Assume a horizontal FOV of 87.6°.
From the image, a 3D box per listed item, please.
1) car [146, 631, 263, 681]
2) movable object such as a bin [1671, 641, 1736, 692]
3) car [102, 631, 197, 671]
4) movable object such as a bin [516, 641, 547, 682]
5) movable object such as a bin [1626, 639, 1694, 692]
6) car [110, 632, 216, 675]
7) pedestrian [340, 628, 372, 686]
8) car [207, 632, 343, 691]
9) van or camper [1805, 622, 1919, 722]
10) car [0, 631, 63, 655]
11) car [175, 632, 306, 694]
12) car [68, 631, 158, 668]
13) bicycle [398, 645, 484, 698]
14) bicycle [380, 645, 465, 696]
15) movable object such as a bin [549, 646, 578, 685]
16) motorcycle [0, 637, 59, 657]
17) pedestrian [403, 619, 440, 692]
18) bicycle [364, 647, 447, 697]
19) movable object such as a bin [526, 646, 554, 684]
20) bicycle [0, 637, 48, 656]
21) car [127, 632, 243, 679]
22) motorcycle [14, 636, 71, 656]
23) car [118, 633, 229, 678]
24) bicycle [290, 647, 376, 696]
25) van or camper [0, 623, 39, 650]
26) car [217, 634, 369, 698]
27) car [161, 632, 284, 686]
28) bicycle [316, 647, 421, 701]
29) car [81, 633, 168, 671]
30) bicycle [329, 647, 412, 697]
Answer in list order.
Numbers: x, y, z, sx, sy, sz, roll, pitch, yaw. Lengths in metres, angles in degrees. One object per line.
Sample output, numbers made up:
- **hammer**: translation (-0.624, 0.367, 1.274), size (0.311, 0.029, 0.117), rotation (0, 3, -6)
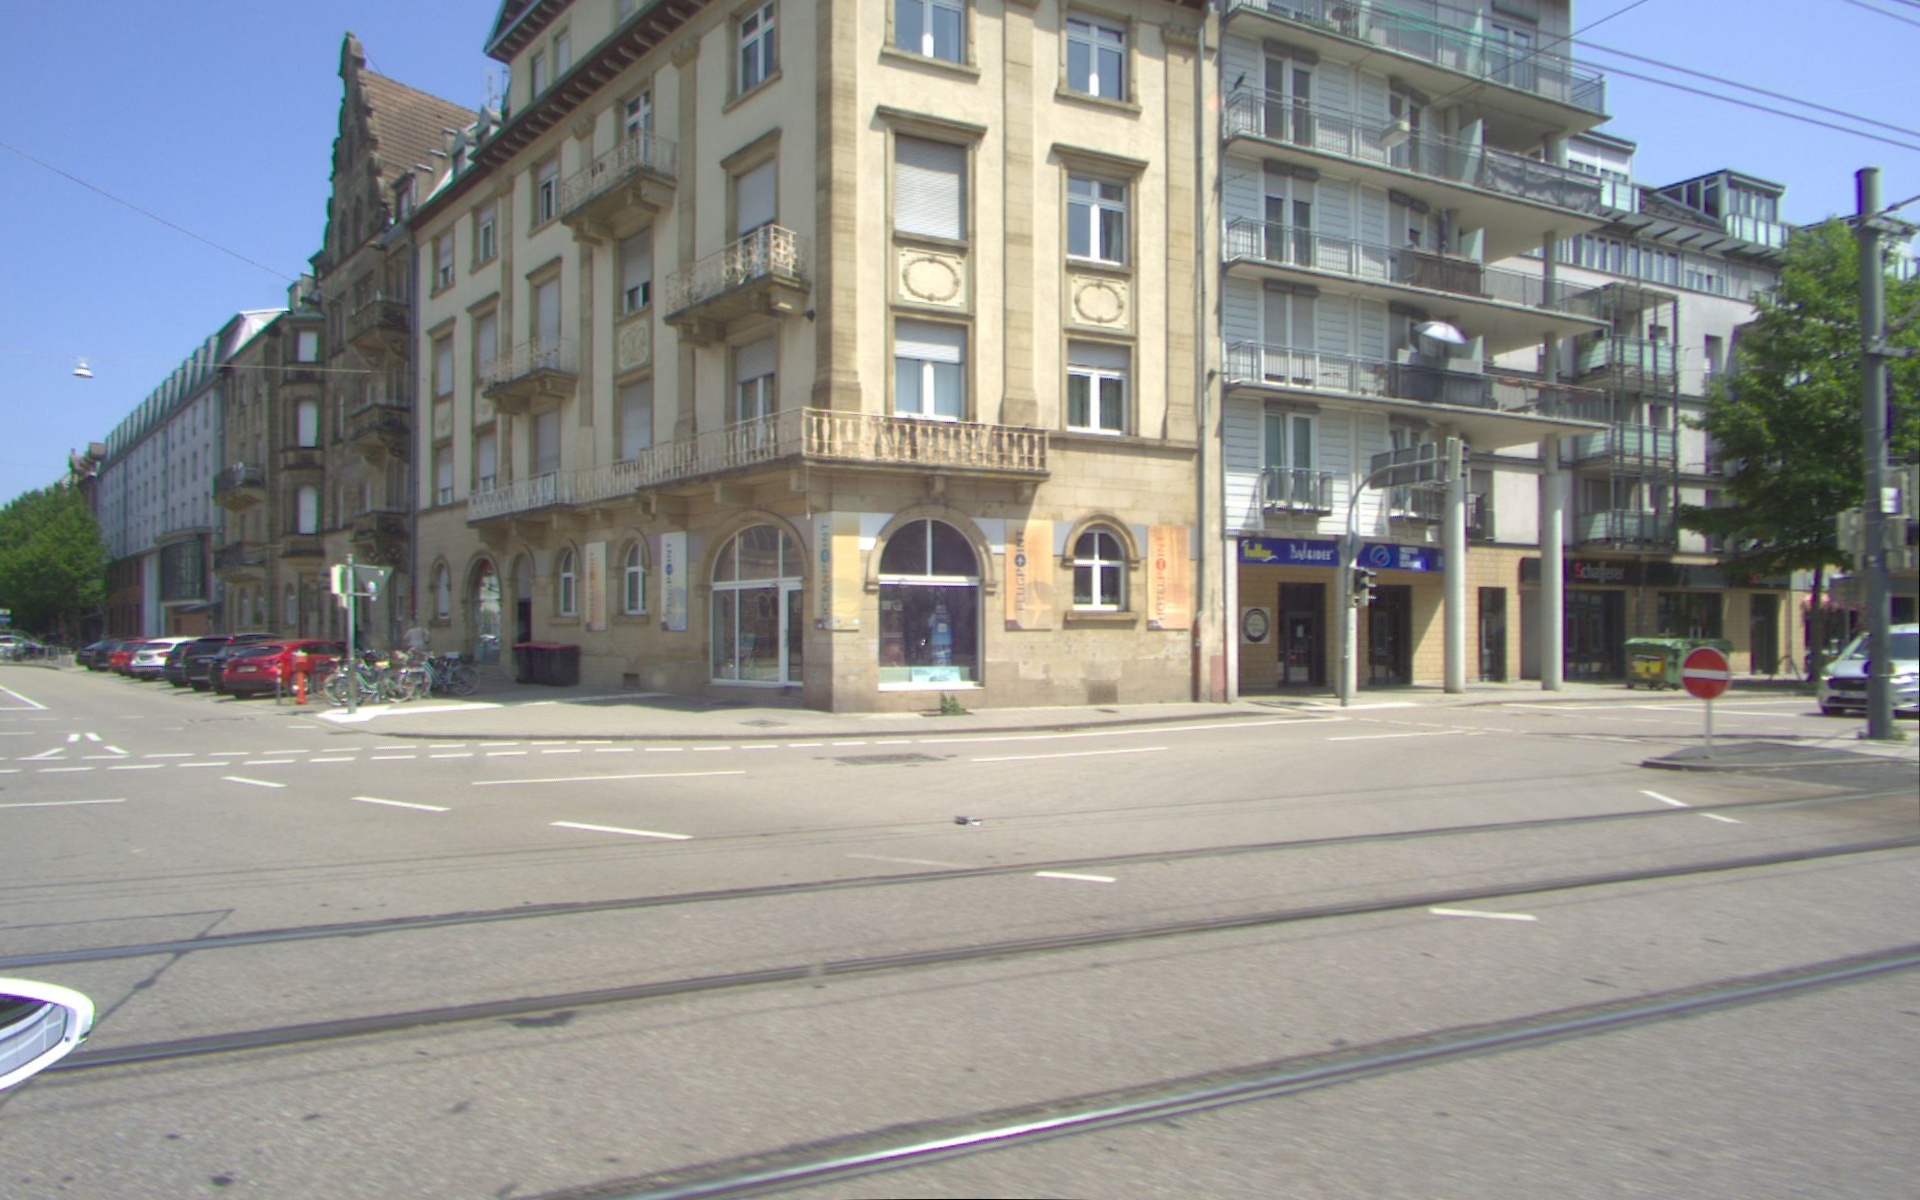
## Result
- **car**: translation (-27.072, 1.965, 36.021), size (1.585, 1.595, 3.226), rotation (-2, 0, 4)
- **movable object such as a bin**: translation (21.656, 1.921, 29.181), size (0.993, 1.454, 1.210), rotation (0, -2, -28)
- **car**: translation (-35.914, 2.224, 44.457), size (1.585, 1.595, 3.227), rotation (-2, 0, -1)
- **movable object such as a bin**: translation (-11.675, 1.672, 27.279), size (0.663, 1.078, 0.586), rotation (1, -2, -39)
- **movable object such as a bin**: translation (19.767, 1.836, 28.291), size (0.991, 1.454, 1.212), rotation (0, -2, -20)
- **car**: translation (-33.292, 2.208, 41.934), size (1.586, 1.595, 3.225), rotation (-2, 0, 8)
- **pedestrian**: translation (-21.535, 2.019, 35.701), size (0.856, 2.039, 1.093), rotation (1, -2, -37)
- **car**: translation (-20.002, 1.765, 29.378), size (1.585, 1.498, 3.226), rotation (-2, 0, 4)
- **van or camper**: translation (18.796, 1.338, 19.477), size (4.519, 1.780, 1.762), rotation (1, -2, -23)
- **car**: translation (-62.643, 2.873, 66.654), size (1.719, 1.568, 3.994), rotation (-1, -2, 20)
- **car**: translation (-22.298, 1.915, 31.170), size (1.585, 1.687, 3.226), rotation (-2, 0, 4)
- **car**: translation (-40.484, 2.358, 47.963), size (1.585, 1.595, 3.227), rotation (-2, 0, -2)
- **bicycle**: translation (-12.535, 1.707, 24.187), size (1.781, 1.166, 0.562), rotation (-1, -1, -33)
- **bicycle**: translation (-13.284, 1.719, 24.763), size (1.781, 1.166, 0.562), rotation (-1, -1, -33)
- **movable object such as a bin**: translation (-10.304, 1.696, 26.022), size (0.576, 1.007, 0.586), rotation (1, -2, -38)
- **motorcycle**: translation (-56.762, 2.843, 61.036), size (2.693, 1.189, 0.768), rotation (2, -2, -45)
- **pedestrian**: translation (-16.179, 1.645, 30.080), size (0.856, 2.140, 1.093), rotation (1, -2, -37)
- **bicycle**: translation (-14.000, 1.797, 25.295), size (1.781, 1.166, 0.562), rotation (-1, -1, -33)
- **movable object such as a bin**: translation (-11.191, 1.727, 26.684), size (0.576, 1.007, 0.586), rotation (1, -2, -38)
- **bicycle**: translation (-59.989, 2.943, 63.935), size (0.671, 1.189, 2.594), rotation (-1, -2, 21)
- **car**: translation (-29.217, 2.059, 37.858), size (1.586, 1.595, 3.226), rotation (-2, 0, 7)
- **motorcycle**: translation (-57.005, 2.862, 62.238), size (2.574, 1.189, 0.676), rotation (2, -2, -45)
- **car**: translation (-31.269, 2.189, 39.903), size (1.586, 1.595, 3.225), rotation (-2, 0, 8)
- **bicycle**: translation (-16.118, 1.820, 25.780), size (0.558, 1.166, 1.792), rotation (-2, -1, 38)
- **van or camper**: translation (-67.740, 2.572, 70.186), size (1.964, 1.861, 4.322), rotation (0, -2, 17)
- **car**: translation (-17.956, 1.737, 27.134), size (1.586, 1.498, 3.225), rotation (-2, 0, 11)
- **car**: translation (-24.826, 1.942, 33.832), size (1.585, 1.595, 3.226), rotation (-2, 0, 4)
- **bicycle**: translation (-13.474, 1.665, 22.853), size (2.033, 1.166, 0.562), rotation (1, -1, -33)
- **car**: translation (-38.385, 2.368, 46.089), size (1.467, 1.595, 3.226), rotation (-2, 0, -7)
- **bicycle**: translation (-15.036, 1.814, 25.562), size (1.781, 1.166, 0.562), rotation (-1, -1, -33)
